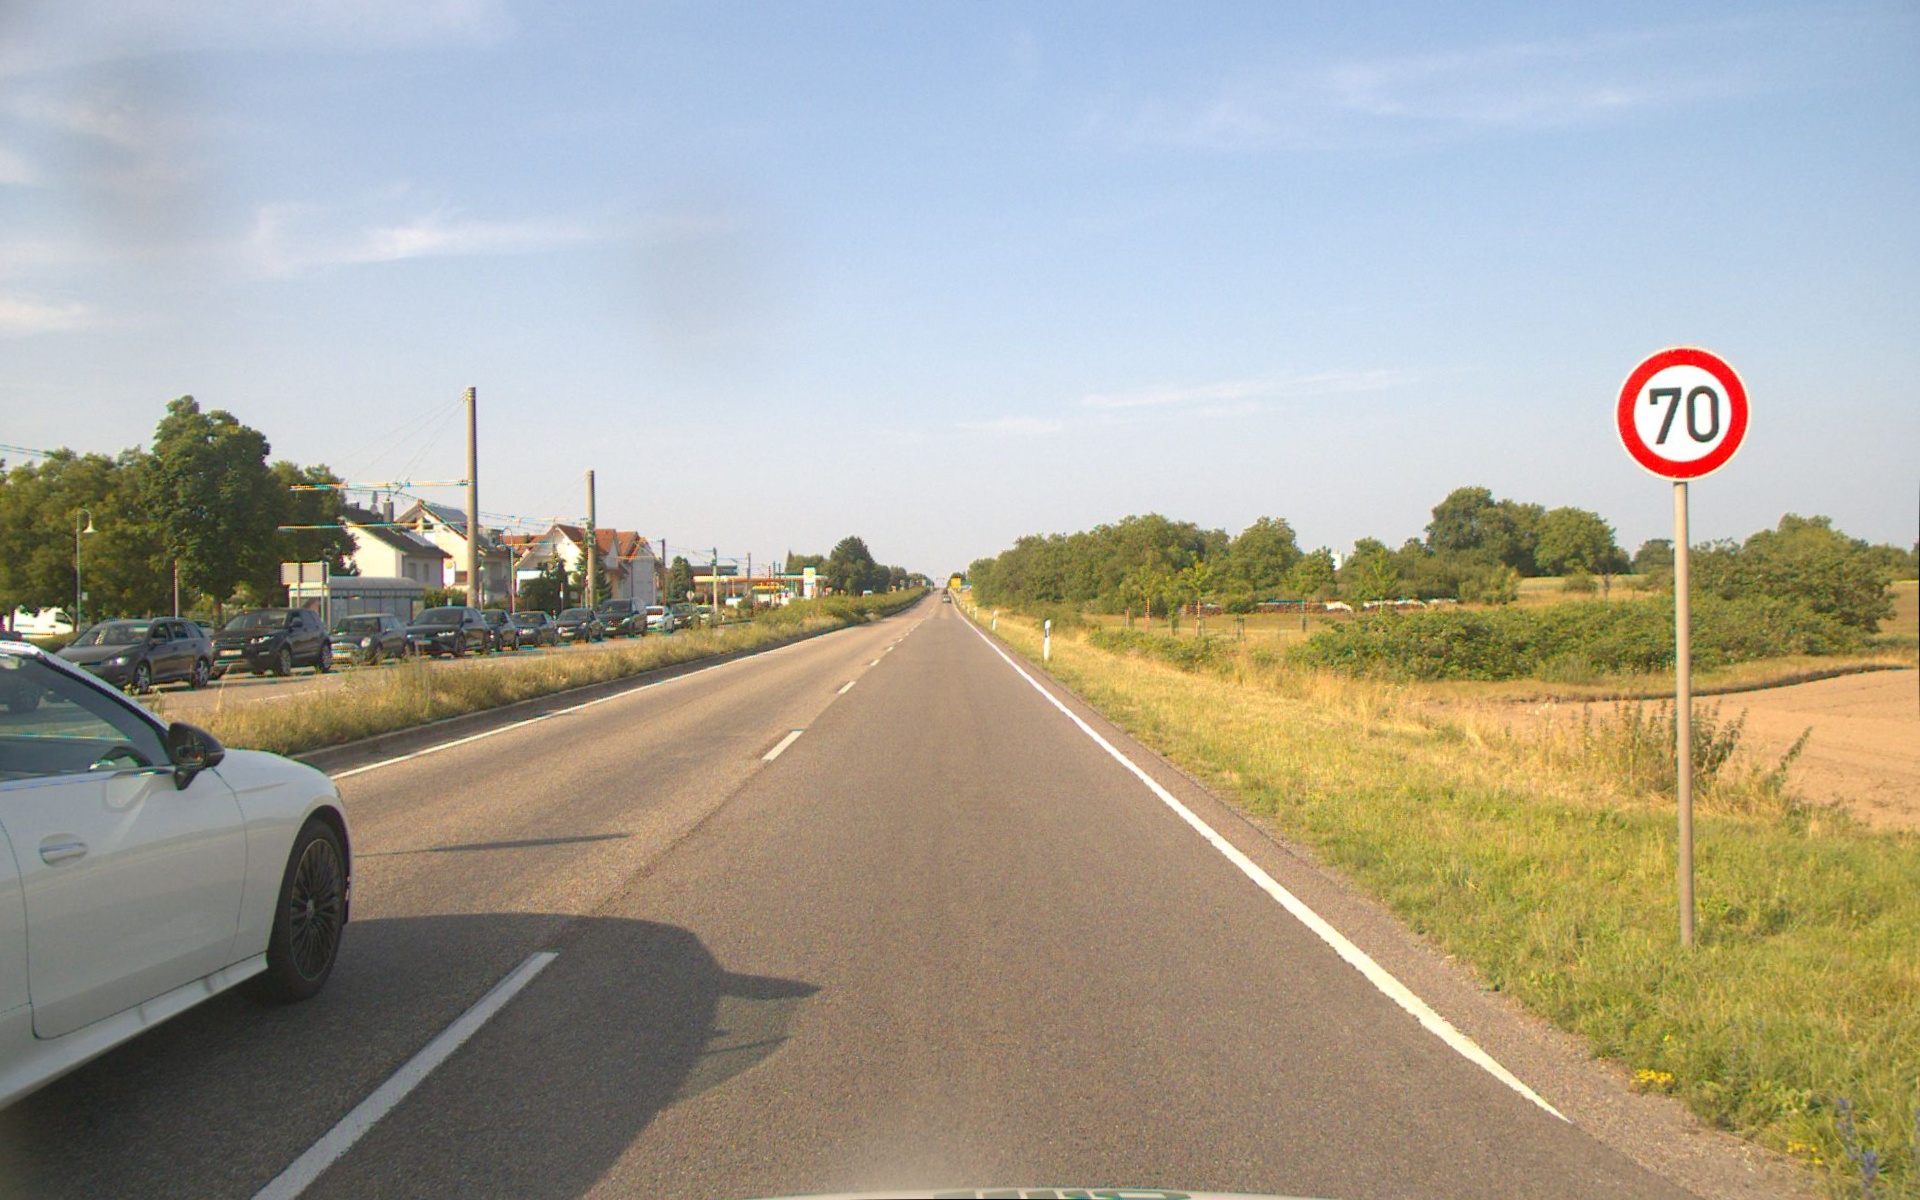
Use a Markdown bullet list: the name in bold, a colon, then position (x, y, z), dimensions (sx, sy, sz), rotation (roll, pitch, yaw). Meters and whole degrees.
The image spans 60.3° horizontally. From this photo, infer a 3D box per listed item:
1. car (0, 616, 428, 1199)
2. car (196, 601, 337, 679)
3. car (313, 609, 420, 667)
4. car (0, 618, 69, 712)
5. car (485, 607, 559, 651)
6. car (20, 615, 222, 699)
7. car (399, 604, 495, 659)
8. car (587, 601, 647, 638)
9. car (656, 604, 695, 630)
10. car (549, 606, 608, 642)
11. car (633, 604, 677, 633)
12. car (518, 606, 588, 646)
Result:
- **car**: position (-3.132, 0.762, 4.545), dimensions (1.735, 1.361, 4.949), rotation (1, 0, 0)
- **car**: position (-16.699, 0.914, 40.051), dimensions (1.626, 1.716, 4.228), rotation (-2, 0, -1)
- **car**: position (-16.606, 1.035, 46.424), dimensions (1.626, 1.456, 3.804), rotation (-3, 0, -1)
- **car**: position (-15.830, 1.060, 25.366), dimensions (1.626, 1.440, 4.974), rotation (-3, 0, -1)
- **car**: position (-15.801, 1.012, 59.834), dimensions (1.626, 1.456, 3.804), rotation (-3, 0, -1)
- **car**: position (-16.231, 1.061, 32.274), dimensions (1.626, 1.405, 4.540), rotation (-3, 0, -1)
- **car**: position (-16.225, 0.962, 52.510), dimensions (1.626, 1.590, 4.545), rotation (-3, 0, -1)
- **car**: position (-16.942, 0.934, 82.014), dimensions (1.876, 1.712, 5.253), rotation (-3, 0, -1)
- **car**: position (-17.498, 1.033, 101.803), dimensions (1.626, 1.456, 4.325), rotation (-3, 0, -1)
- **car**: position (-16.791, 1.020, 72.924), dimensions (1.626, 1.456, 4.056), rotation (-3, 0, -1)
- **car**: position (-16.746, 0.986, 90.976), dimensions (1.626, 1.456, 4.447), rotation (-3, 0, -1)
- **car**: position (-16.258, 1.012, 66.241), dimensions (1.626, 1.456, 4.716), rotation (-3, 0, -1)
